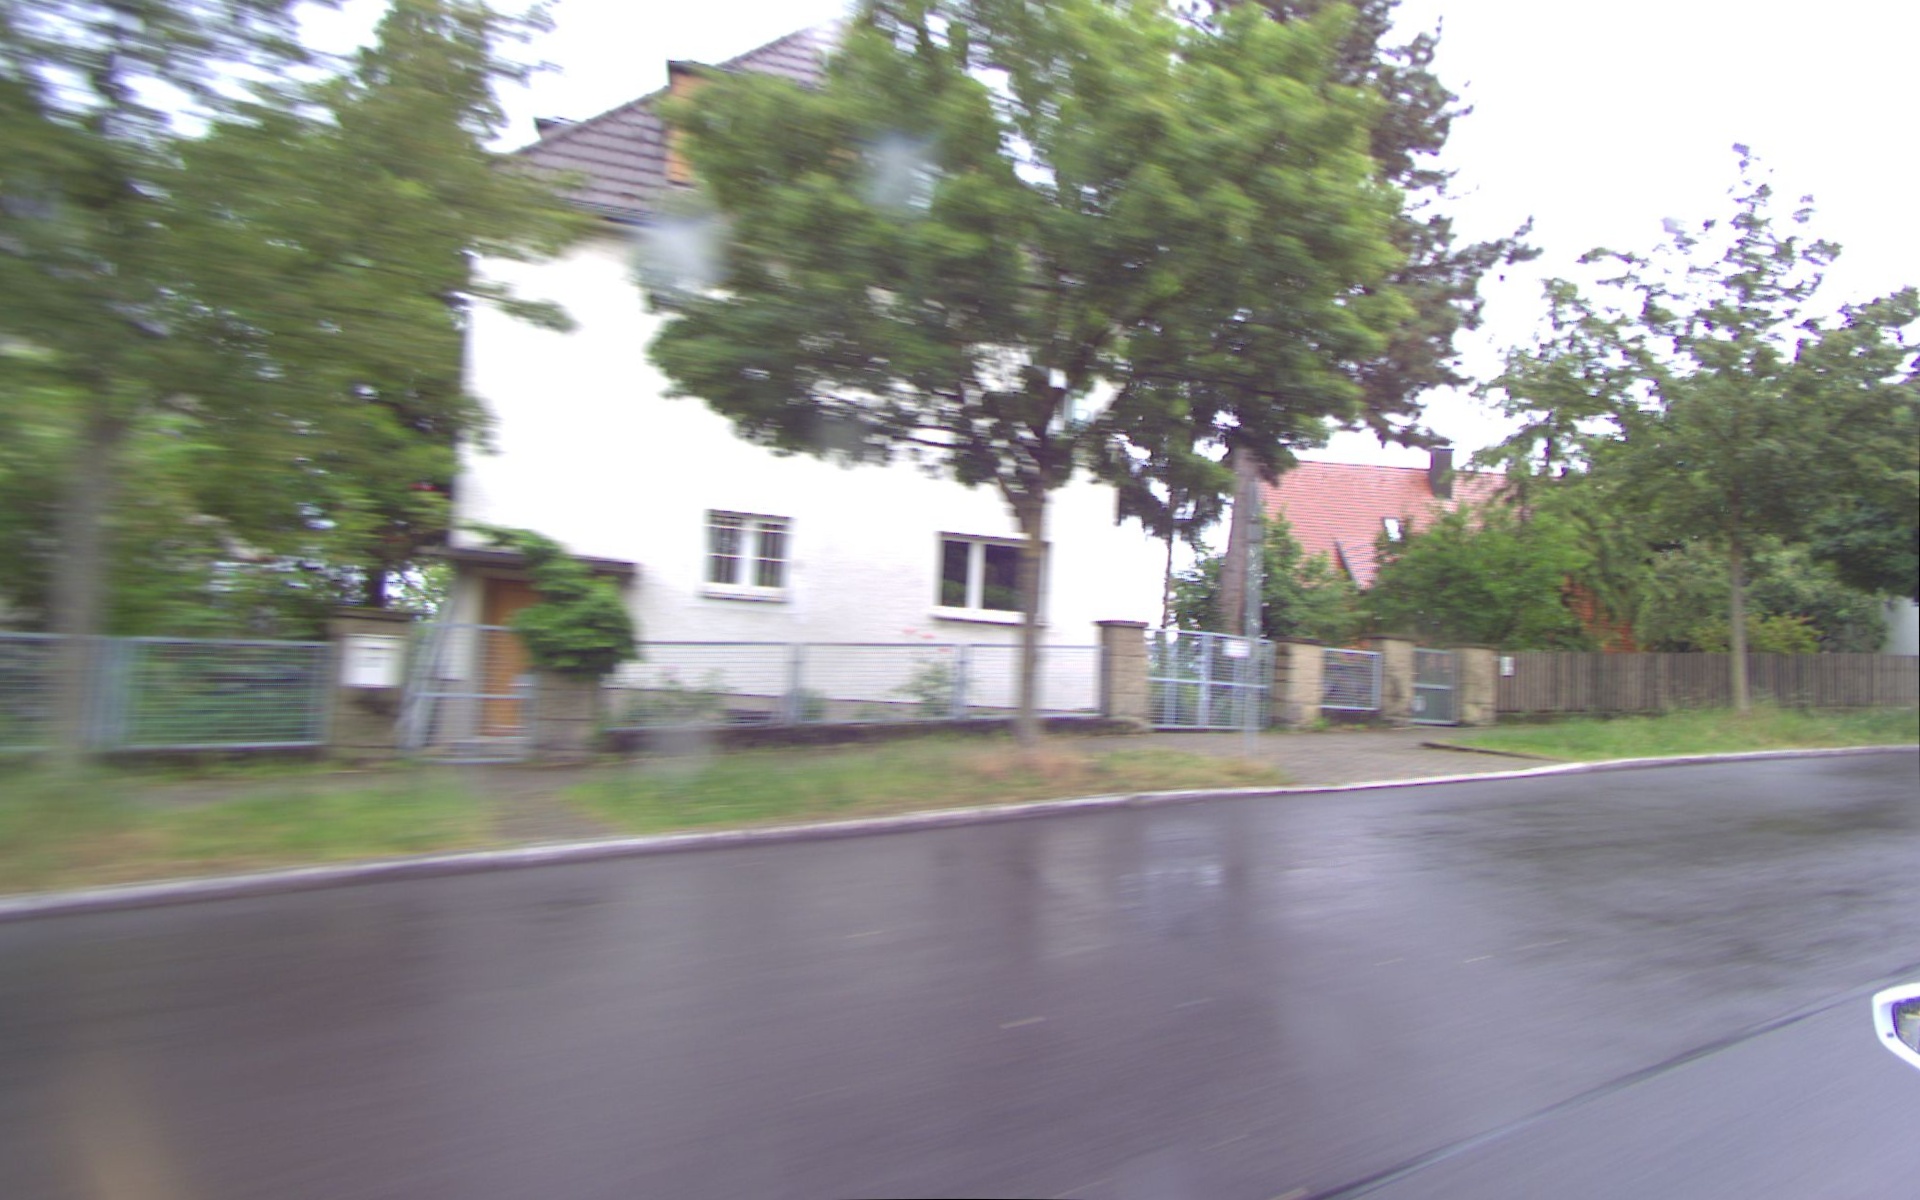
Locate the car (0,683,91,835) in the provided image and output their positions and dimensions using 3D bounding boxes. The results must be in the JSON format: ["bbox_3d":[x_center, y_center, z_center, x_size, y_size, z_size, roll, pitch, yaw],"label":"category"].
[{"bbox_3d":[-11.358,1.573,10.271,1.822,1.602,4.002,1,-13,-11],"label":"car"}]
